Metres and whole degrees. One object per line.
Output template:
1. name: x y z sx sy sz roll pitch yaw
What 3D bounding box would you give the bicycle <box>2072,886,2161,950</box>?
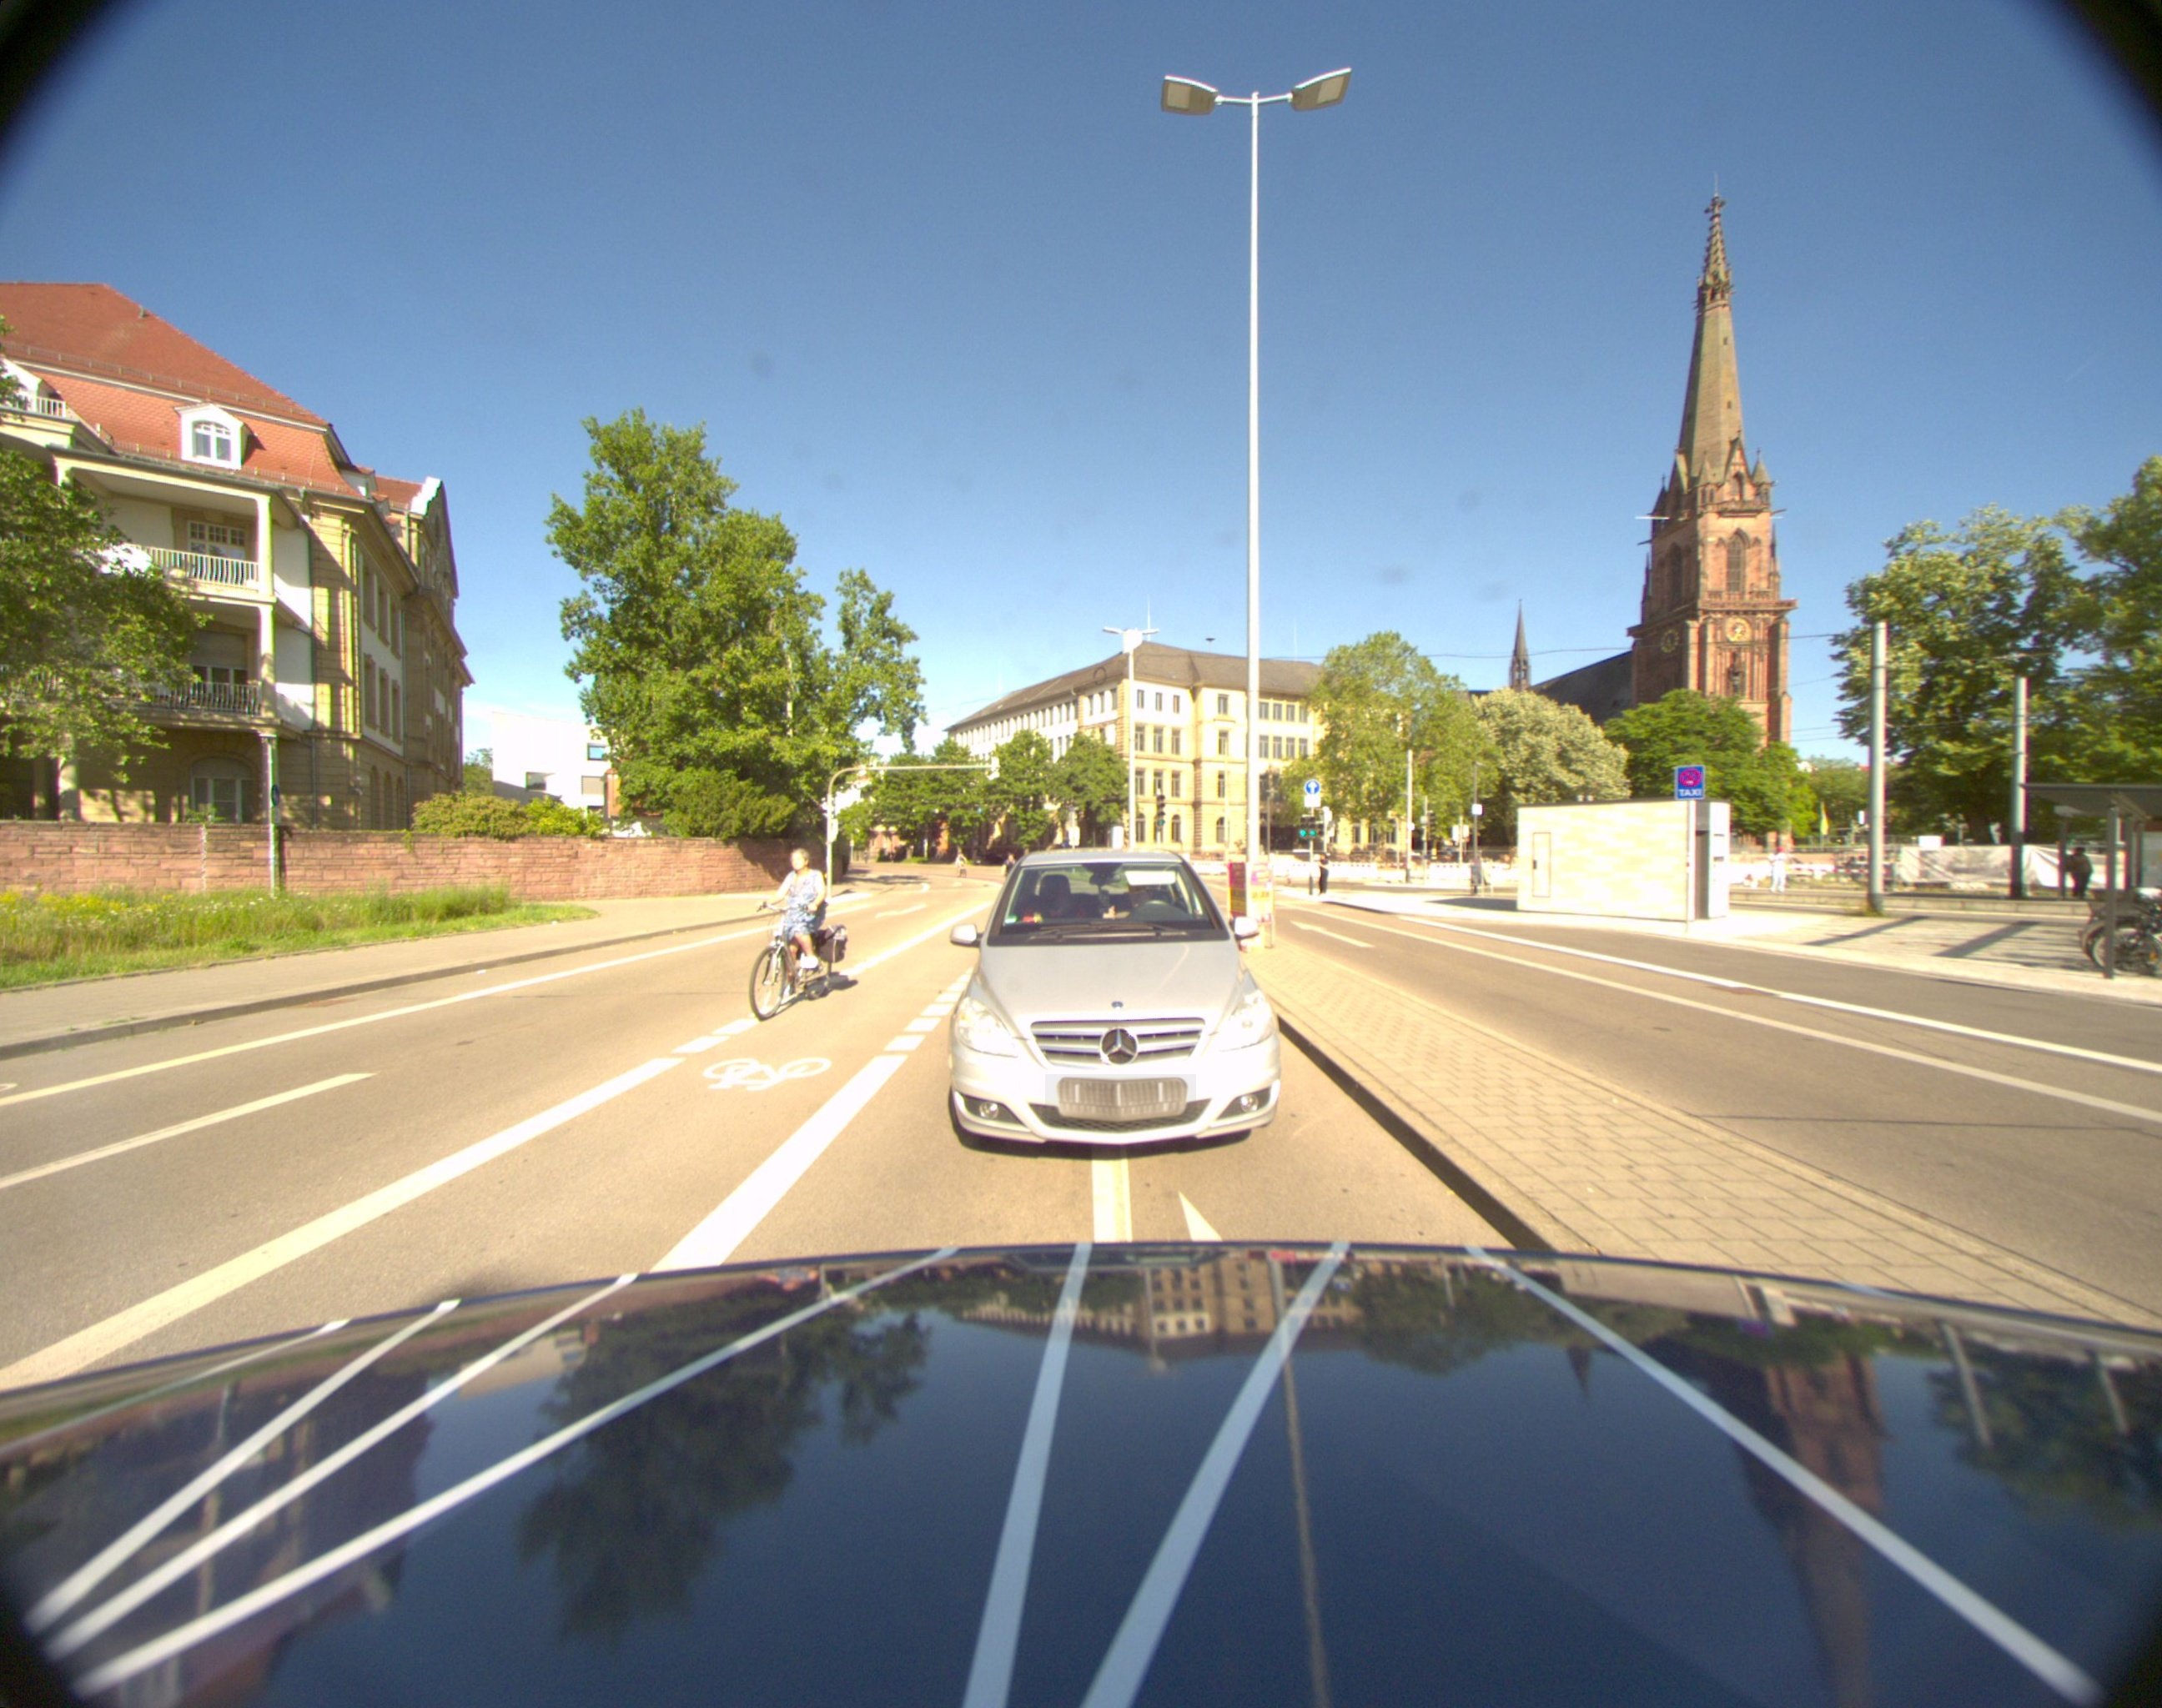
1. bicycle: 18.649 1.120 13.152 0.569 1.032 1.783 1 1 -37

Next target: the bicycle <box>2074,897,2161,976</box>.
1. bicycle: 15.145 1.165 10.441 0.569 1.032 1.783 1 1 -37

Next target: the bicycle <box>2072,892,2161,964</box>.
1. bicycle: 16.675 1.162 11.638 0.569 1.032 1.783 1 1 -37

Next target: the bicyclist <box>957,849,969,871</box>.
1. bicyclist: -8.550 0.450 54.939 0.779 1.543 0.918 -1 1 -12

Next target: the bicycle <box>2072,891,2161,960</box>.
1. bicycle: 17.167 1.153 12.012 0.569 1.032 1.783 1 1 -37

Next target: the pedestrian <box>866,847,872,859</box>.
1. pedestrian: -29.505 -0.116 105.787 0.637 1.602 0.844 -3 1 -30

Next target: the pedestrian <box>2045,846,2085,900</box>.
1. pedestrian: 30.567 0.585 23.608 0.567 1.645 0.518 -2 1 1

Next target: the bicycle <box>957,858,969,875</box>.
1. bicycle: -8.548 0.910 54.922 0.779 1.158 1.965 -1 1 -12

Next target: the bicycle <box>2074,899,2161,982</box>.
1. bicycle: 14.541 1.171 9.982 0.569 1.032 1.783 1 1 -37

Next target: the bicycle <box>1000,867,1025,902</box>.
1. bicycle: -2.404 1.052 26.770 0.642 1.158 1.870 -1 0 1

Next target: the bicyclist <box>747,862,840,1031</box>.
1. bicyclist: -2.983 0.927 7.949 0.643 1.653 0.776 -1 2 0

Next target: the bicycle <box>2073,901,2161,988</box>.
1. bicycle: 14.017 1.181 9.592 0.569 1.032 1.783 1 1 -37

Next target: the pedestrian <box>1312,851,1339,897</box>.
1. pedestrian: 9.277 0.756 28.873 0.789 1.671 0.648 -2 1 2

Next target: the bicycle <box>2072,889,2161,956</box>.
1. bicycle: 17.692 1.143 12.424 0.569 1.032 1.783 1 1 -37

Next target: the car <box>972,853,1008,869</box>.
1. car: -10.816 0.849 90.489 1.994 1.805 3.809 1 1 44

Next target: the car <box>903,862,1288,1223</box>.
1. car: 0.117 0.906 5.855 1.770 1.584 4.638 -1 1 1

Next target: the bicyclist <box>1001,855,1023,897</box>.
1. bicyclist: -2.408 0.748 26.661 0.643 1.436 0.953 -1 0 1

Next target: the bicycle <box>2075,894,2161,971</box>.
1. bicycle: 15.699 1.153 10.854 0.569 1.032 1.783 1 1 -37

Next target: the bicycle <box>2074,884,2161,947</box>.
1. bicycle: 19.134 1.108 13.497 0.569 1.032 1.783 1 1 -37

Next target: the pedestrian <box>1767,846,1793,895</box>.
1. pedestrian: 25.249 0.602 27.453 0.537 1.712 0.684 -1 -4 31

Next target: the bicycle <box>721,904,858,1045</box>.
1. bicycle: -2.975 1.176 7.987 0.642 1.158 1.968 -1 1 1

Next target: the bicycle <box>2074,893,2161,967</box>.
1. bicycle: 16.196 1.153 11.246 0.569 1.032 1.783 1 1 -37

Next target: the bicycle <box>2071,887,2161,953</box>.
1. bicycle: 18.165 1.130 12.790 0.569 1.032 1.783 1 1 -37
